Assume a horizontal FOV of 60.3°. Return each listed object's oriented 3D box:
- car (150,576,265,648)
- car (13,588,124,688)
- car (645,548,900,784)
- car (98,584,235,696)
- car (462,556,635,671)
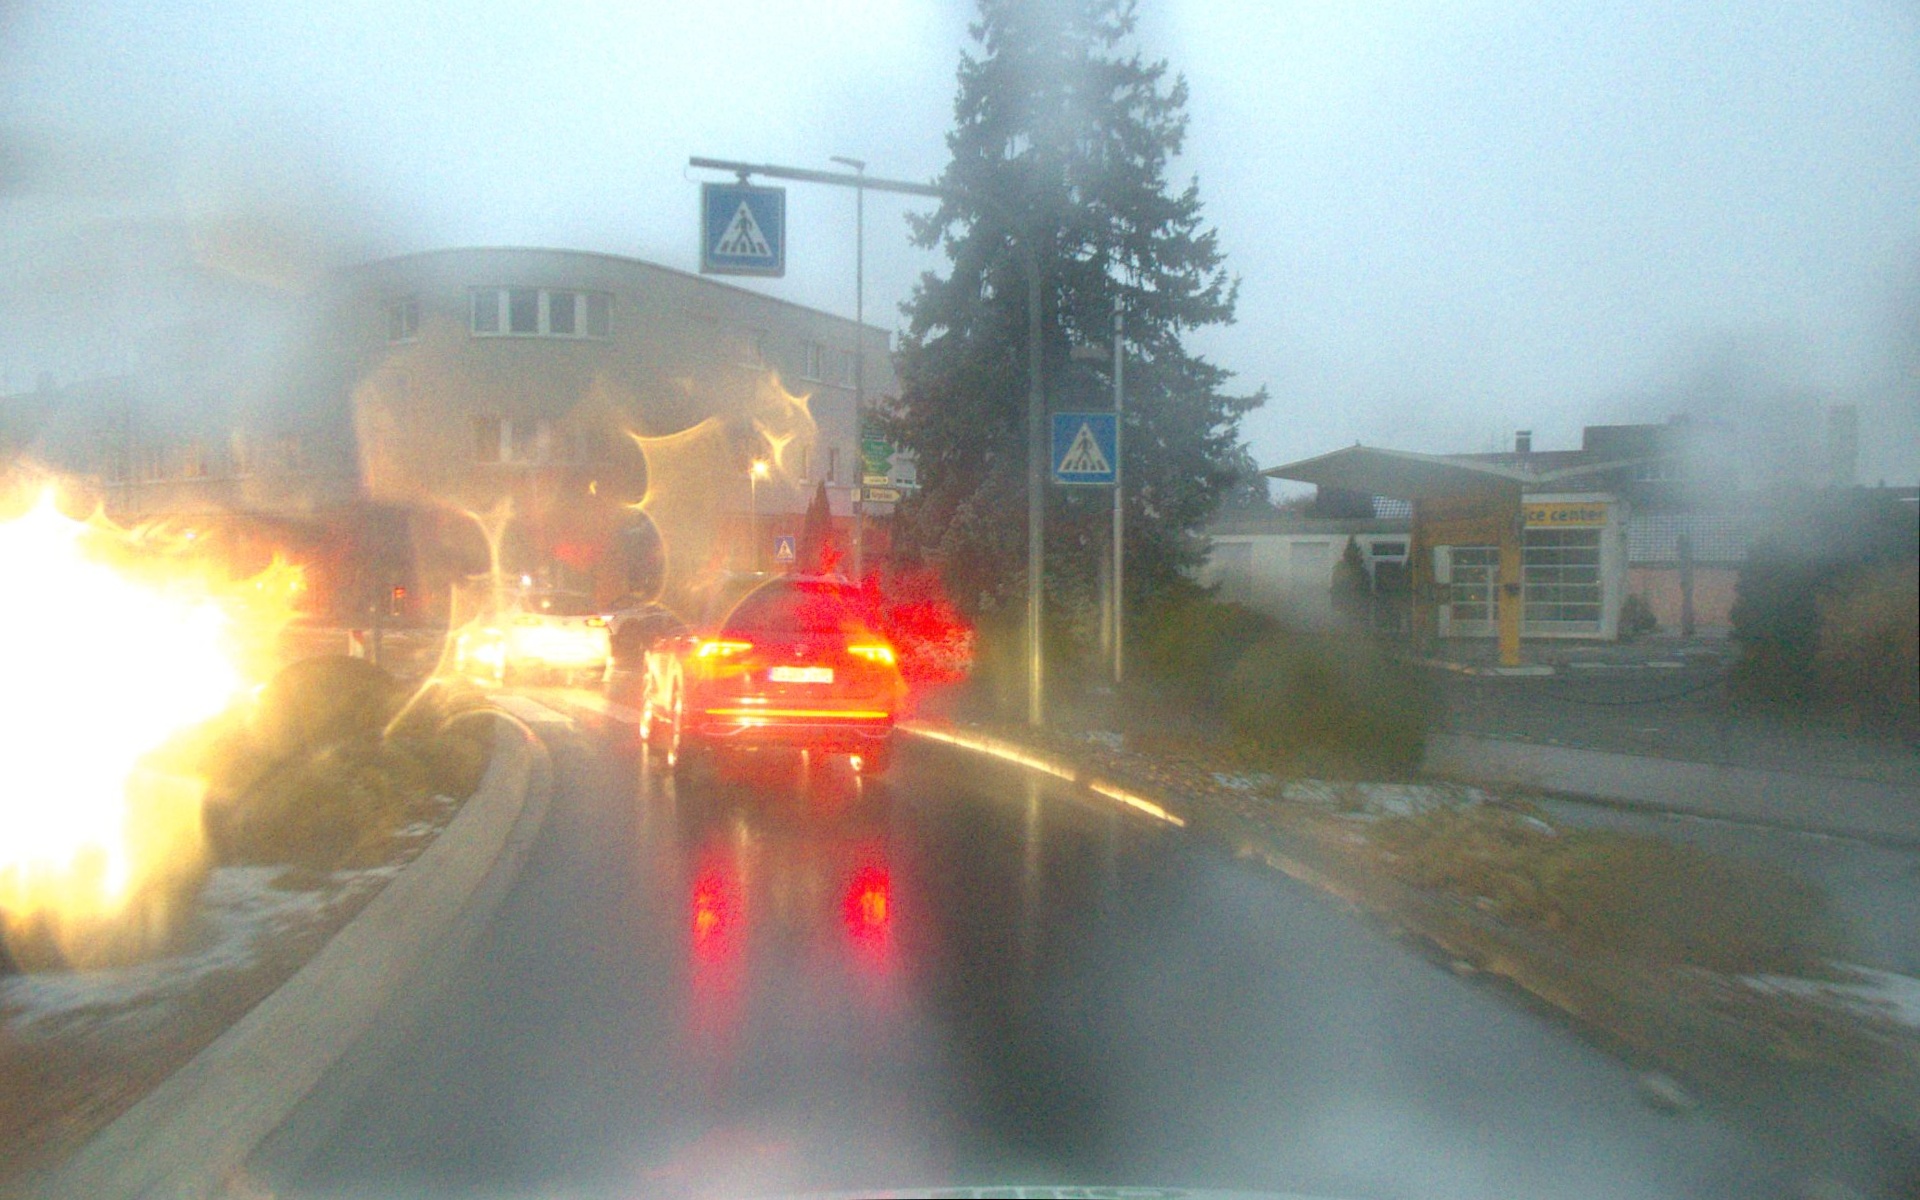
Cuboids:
[{"bbox_3d":[-20.265,0.276,44.439,2.046,1.747,4.515,-1,2,-35],"label":"car"},{"bbox_3d":[-21.136,0.825,39.115,2.141,2.096,4.524,-1,2,-31],"label":"car"},{"bbox_3d":[-1.723,0.441,14.412,1.909,1.748,3.991,0,1,-10],"label":"car"},{"bbox_3d":[-16.698,0.749,34.688,2.142,2.096,4.522,-1,2,-32],"label":"car"},{"bbox_3d":[-6.966,0.151,27.671,2.134,1.718,4.539,0,2,-23],"label":"car"}]
